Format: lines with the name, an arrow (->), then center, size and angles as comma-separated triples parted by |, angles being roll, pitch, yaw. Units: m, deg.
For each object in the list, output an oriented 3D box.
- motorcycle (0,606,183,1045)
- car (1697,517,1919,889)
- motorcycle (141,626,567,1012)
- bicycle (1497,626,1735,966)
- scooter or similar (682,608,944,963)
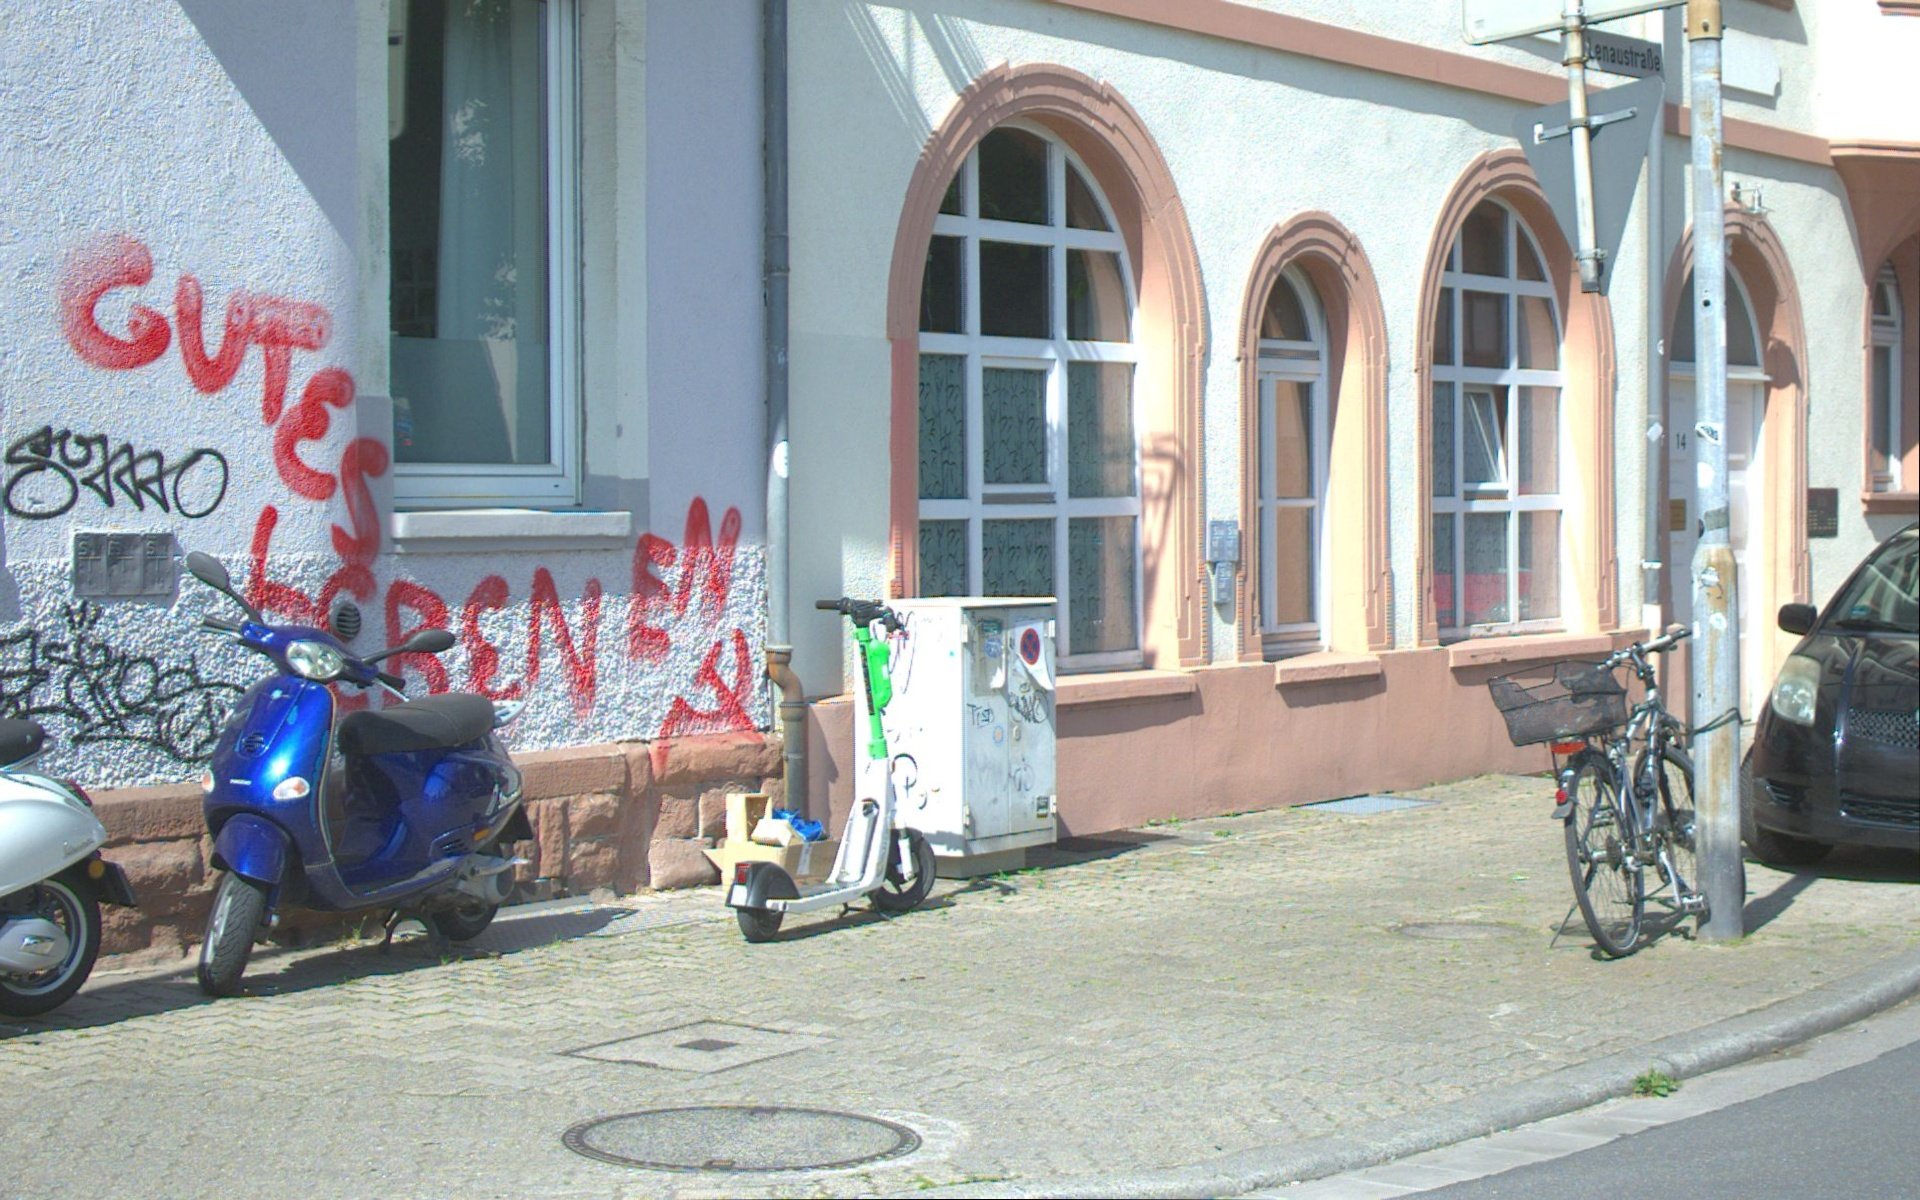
motorcycle -> -2.973, 0.640, 9.264 | 0.473, 1.146, 1.760 | 3, 5, 42
car -> 4.649, 0.369, 15.293 | 1.823, 1.442, 3.763 | 1, 2, 26
motorcycle -> -1.903, 0.658, 10.953 | 0.428, 1.090, 1.447 | 3, 3, 35
bicycle -> 2.363, 0.651, 12.245 | 0.625, 1.030, 1.881 | 0, 2, 17
scooter or similar -> -0.497, 0.619, 12.131 | 0.274, 1.123, 1.446 | 2, 3, 25
